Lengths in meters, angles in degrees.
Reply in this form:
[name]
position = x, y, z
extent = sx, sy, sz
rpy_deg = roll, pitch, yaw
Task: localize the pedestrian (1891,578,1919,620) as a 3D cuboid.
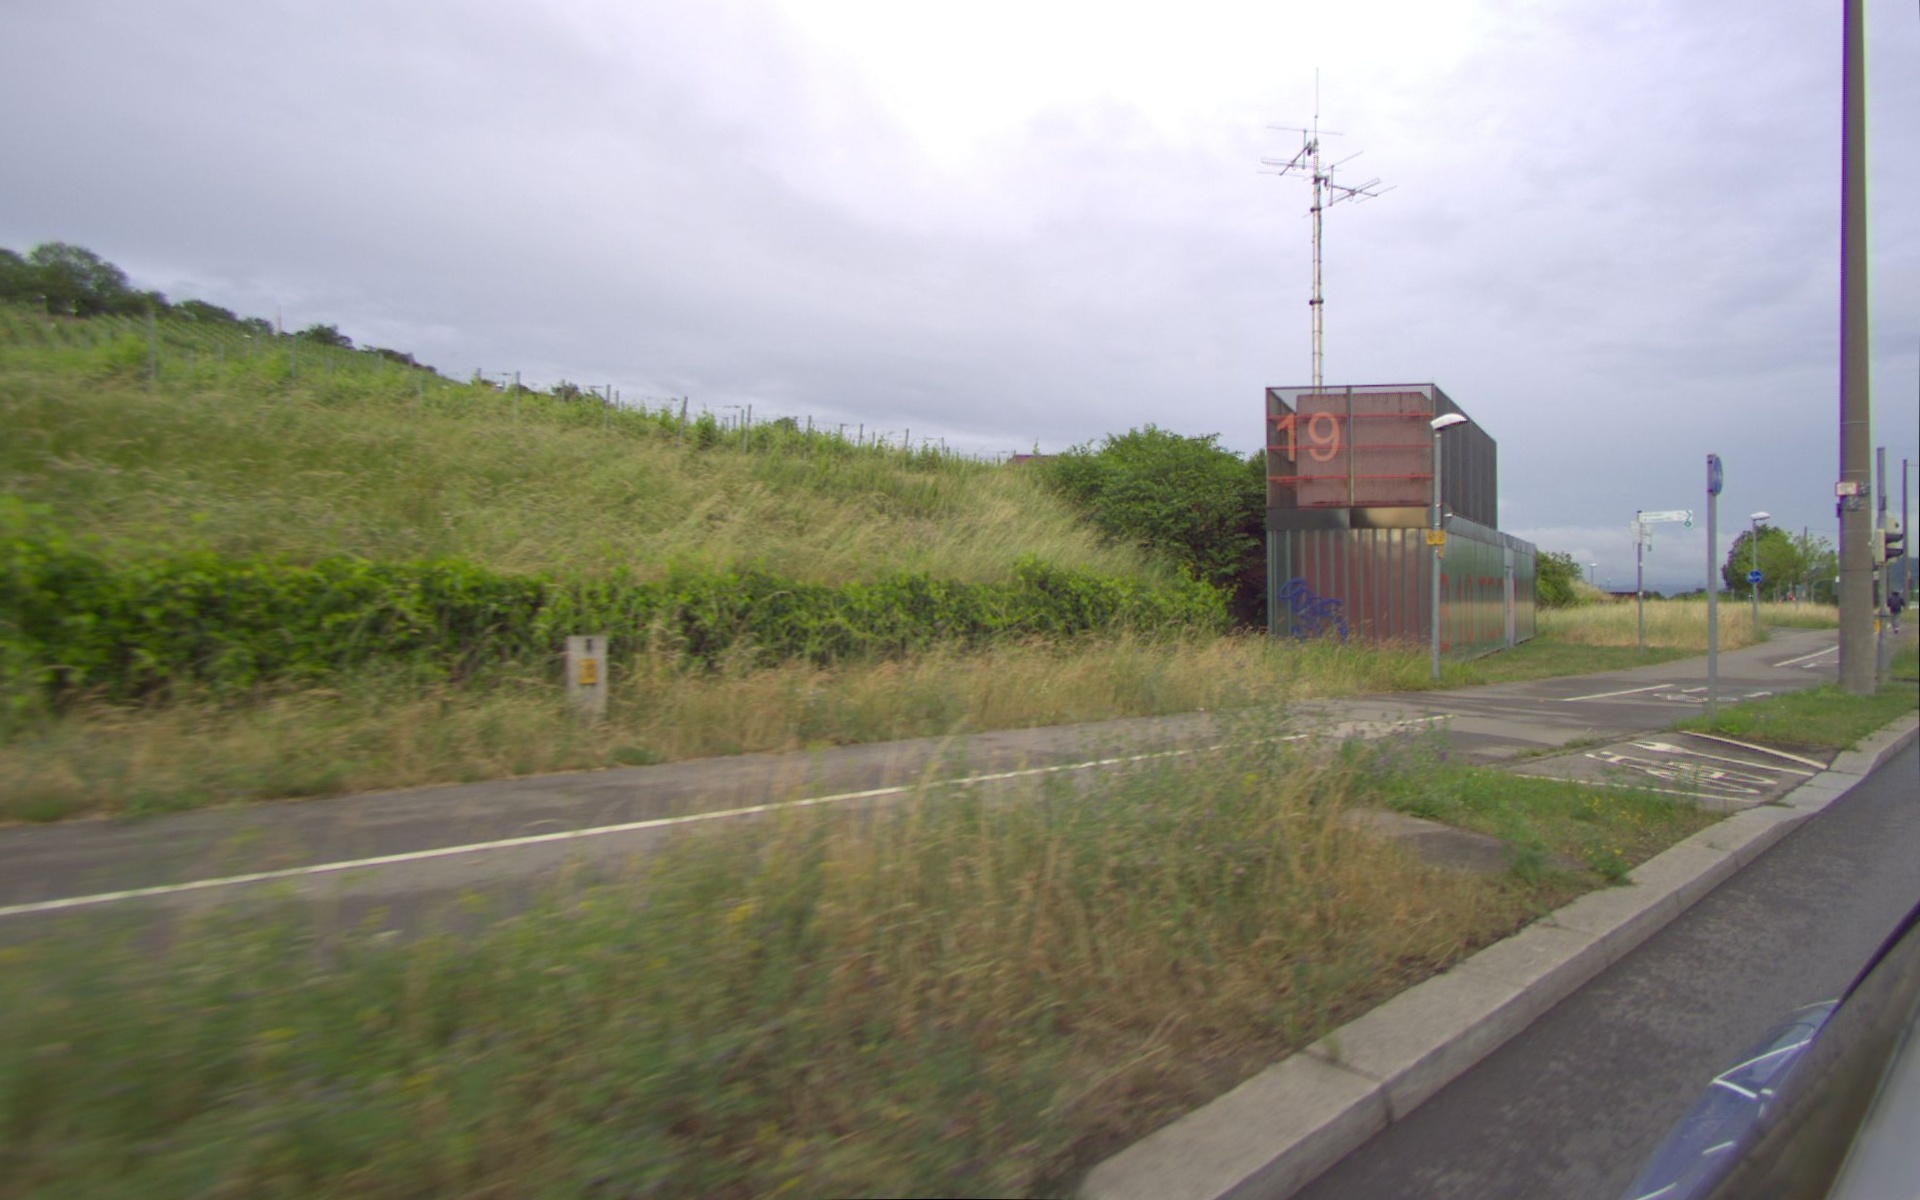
[pedestrian]
position = 40.525, -0.024, 43.265
extent = 0.794, 1.746, 0.977
rpy_deg = -3, -2, 33
